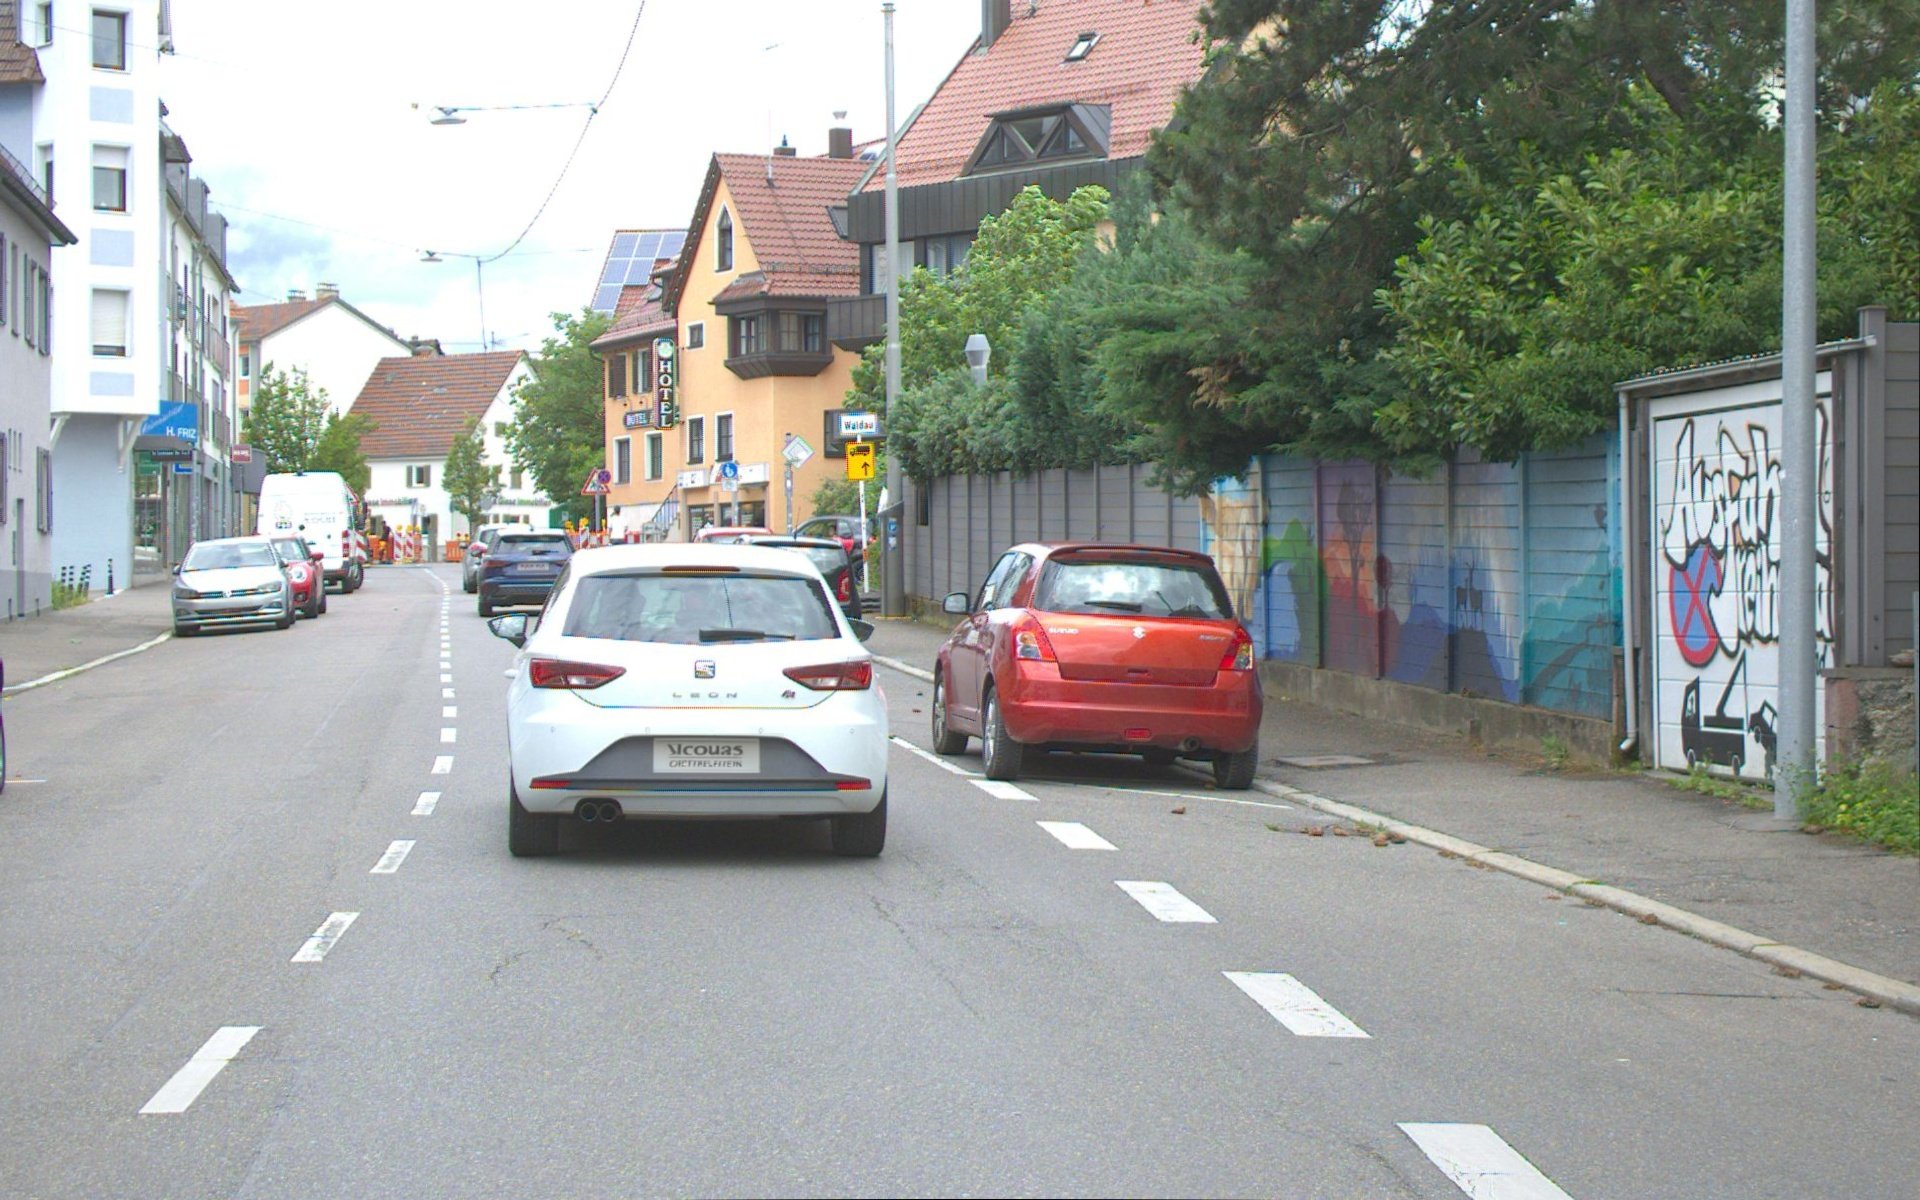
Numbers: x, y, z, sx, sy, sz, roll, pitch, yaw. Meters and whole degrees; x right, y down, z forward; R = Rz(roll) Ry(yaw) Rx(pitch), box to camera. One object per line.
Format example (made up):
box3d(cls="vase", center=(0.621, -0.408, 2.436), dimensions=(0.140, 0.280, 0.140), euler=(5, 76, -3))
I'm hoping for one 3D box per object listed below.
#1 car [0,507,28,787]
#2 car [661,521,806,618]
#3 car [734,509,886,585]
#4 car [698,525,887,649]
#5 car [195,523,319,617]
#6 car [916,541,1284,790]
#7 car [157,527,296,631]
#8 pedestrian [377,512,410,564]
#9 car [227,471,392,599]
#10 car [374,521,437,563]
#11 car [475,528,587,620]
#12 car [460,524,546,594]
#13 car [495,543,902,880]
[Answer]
box3d(cls="car", center=(-6.414, 0.355, 18.909), dimensions=(1.896, 1.613, 4.527), euler=(-2, 3, -8))
box3d(cls="car", center=(-3.562, -0.496, 53.558), dimensions=(1.758, 1.447, 4.001), euler=(0, 1, -11))
box3d(cls="car", center=(-3.191, -1.132, 72.818), dimensions=(2.807, 1.507, 1.709), euler=(1, 3, -19))
box3d(cls="car", center=(-2.096, -0.192, 42.024), dimensions=(1.758, 1.447, 4.001), euler=(0, 1, -11))
box3d(cls="car", center=(-12.043, -0.541, 59.044), dimensions=(1.799, 1.474, 4.052), euler=(-3, 2, -8))
box3d(cls="car", center=(0.822, 0.365, 22.698), dimensions=(1.758, 1.447, 4.001), euler=(2, 1, -7))
box3d(cls="car", center=(-11.366, -0.360, 53.462), dimensions=(1.799, 1.474, 4.052), euler=(-3, 2, -8))
box3d(cls="pedestrian", center=(-22.141, -2.418, 134.336), dimensions=(1.228, 2.007, 1.176), euler=(0, 1, -8))
box3d(cls="car", center=(-14.202, -1.438, 75.367), dimensions=(2.152, 2.677, 5.544), euler=(1, 1, 4))
box3d(cls="car", center=(-22.620, -2.377, 140.401), dimensions=(1.794, 1.696, 4.000), euler=(0, 1, 2))
box3d(cls="car", center=(-7.073, -0.454, 56.483), dimensions=(1.758, 1.447, 4.001), euler=(0, 1, -8))
box3d(cls="car", center=(-9.756, -0.893, 73.180), dimensions=(1.758, 1.447, 4.001), euler=(0, 1, -8))
box3d(cls="car", center=(-1.402, 0.447, 16.977), dimensions=(1.758, 1.447, 4.001), euler=(0, 1, -8))
